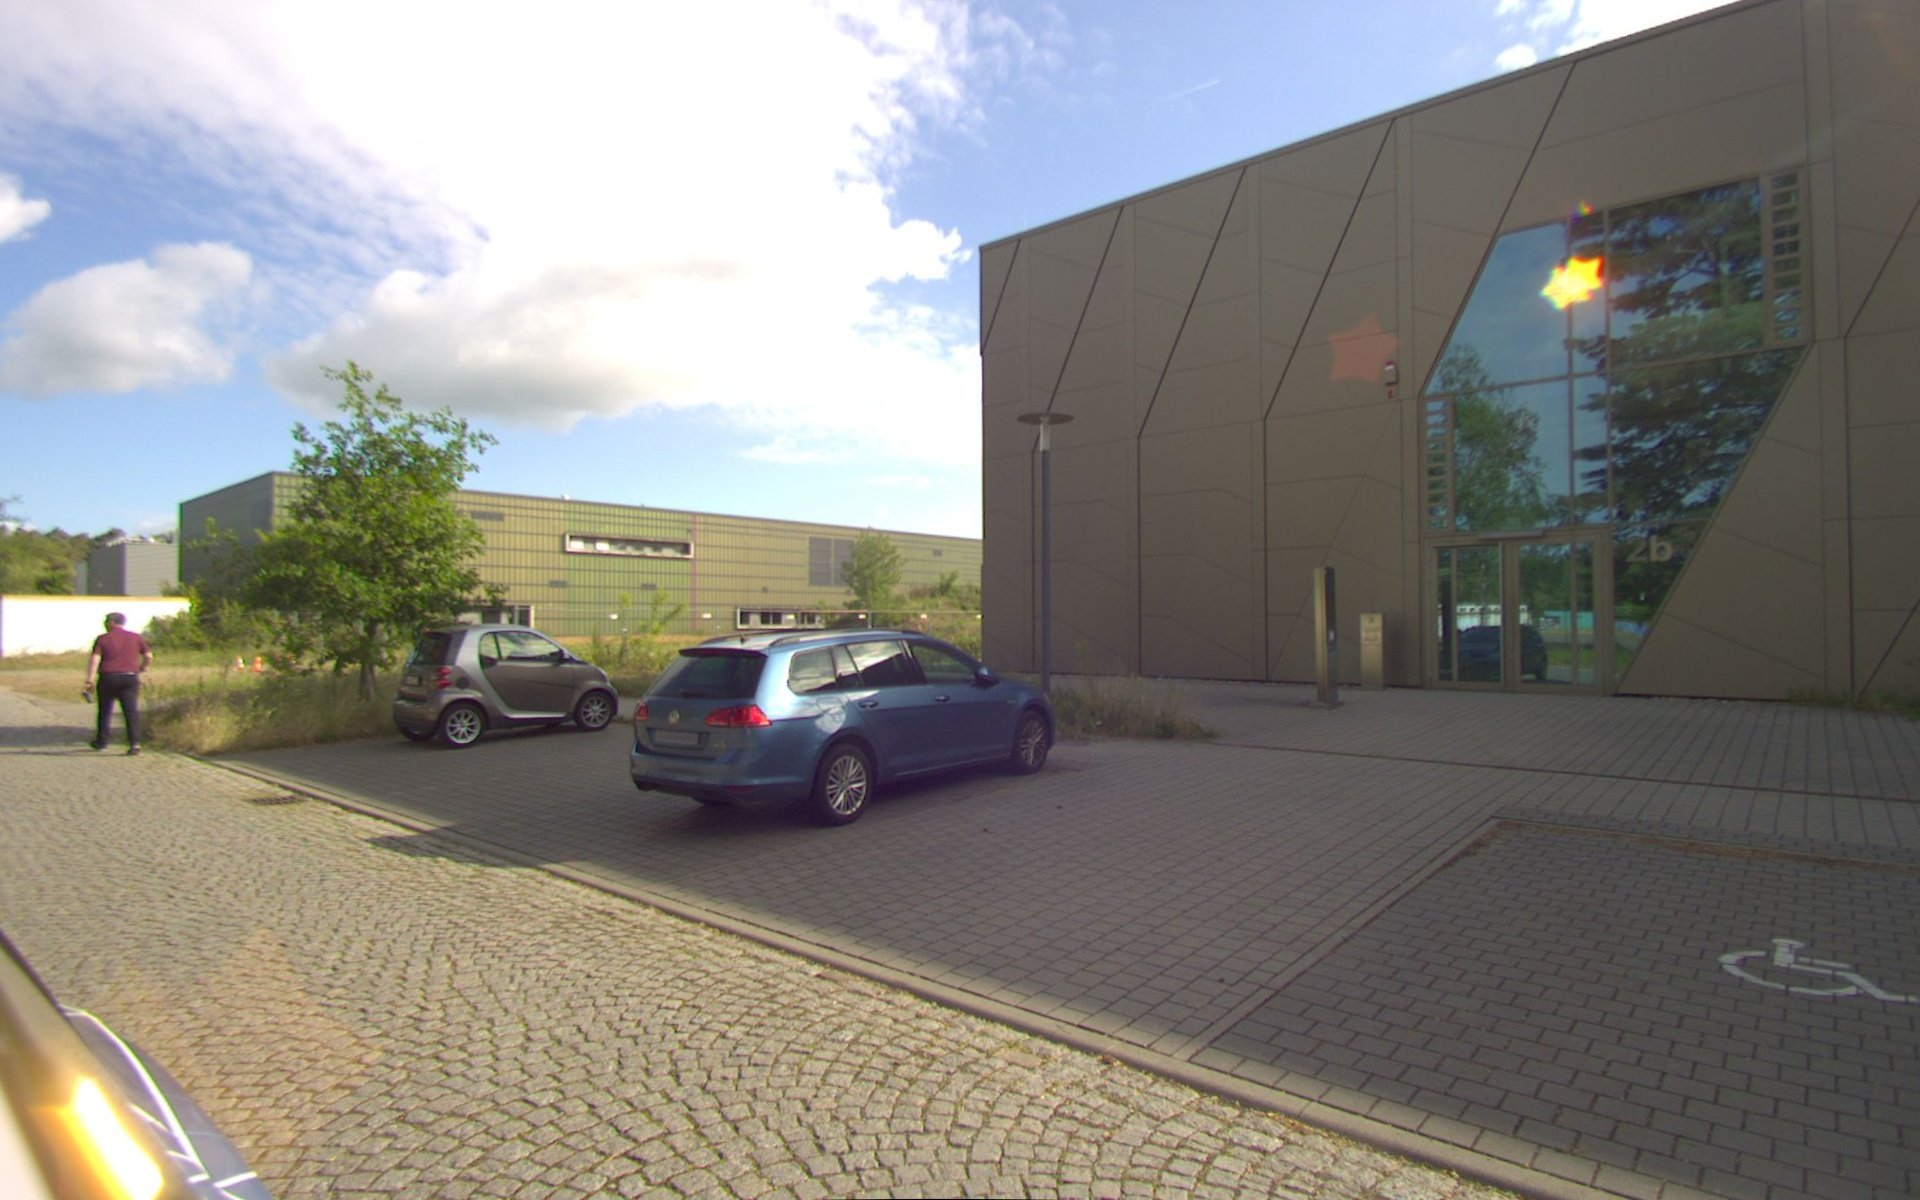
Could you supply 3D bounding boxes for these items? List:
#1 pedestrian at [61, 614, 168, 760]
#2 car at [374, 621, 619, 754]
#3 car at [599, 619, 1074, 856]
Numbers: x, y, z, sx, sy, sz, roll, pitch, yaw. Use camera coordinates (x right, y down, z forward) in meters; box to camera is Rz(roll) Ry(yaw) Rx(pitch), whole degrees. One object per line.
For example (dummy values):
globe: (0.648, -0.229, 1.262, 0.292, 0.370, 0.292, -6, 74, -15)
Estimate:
pedestrian: (-10.873, 1.080, 13.010, 1.151, 1.785, 0.797, -2, -2, 37)
car: (-6.326, 1.111, 13.956, 1.517, 1.554, 2.671, -2, 0, 40)
car: (-0.836, 0.986, 9.009, 1.679, 1.475, 4.216, -2, -1, 38)
